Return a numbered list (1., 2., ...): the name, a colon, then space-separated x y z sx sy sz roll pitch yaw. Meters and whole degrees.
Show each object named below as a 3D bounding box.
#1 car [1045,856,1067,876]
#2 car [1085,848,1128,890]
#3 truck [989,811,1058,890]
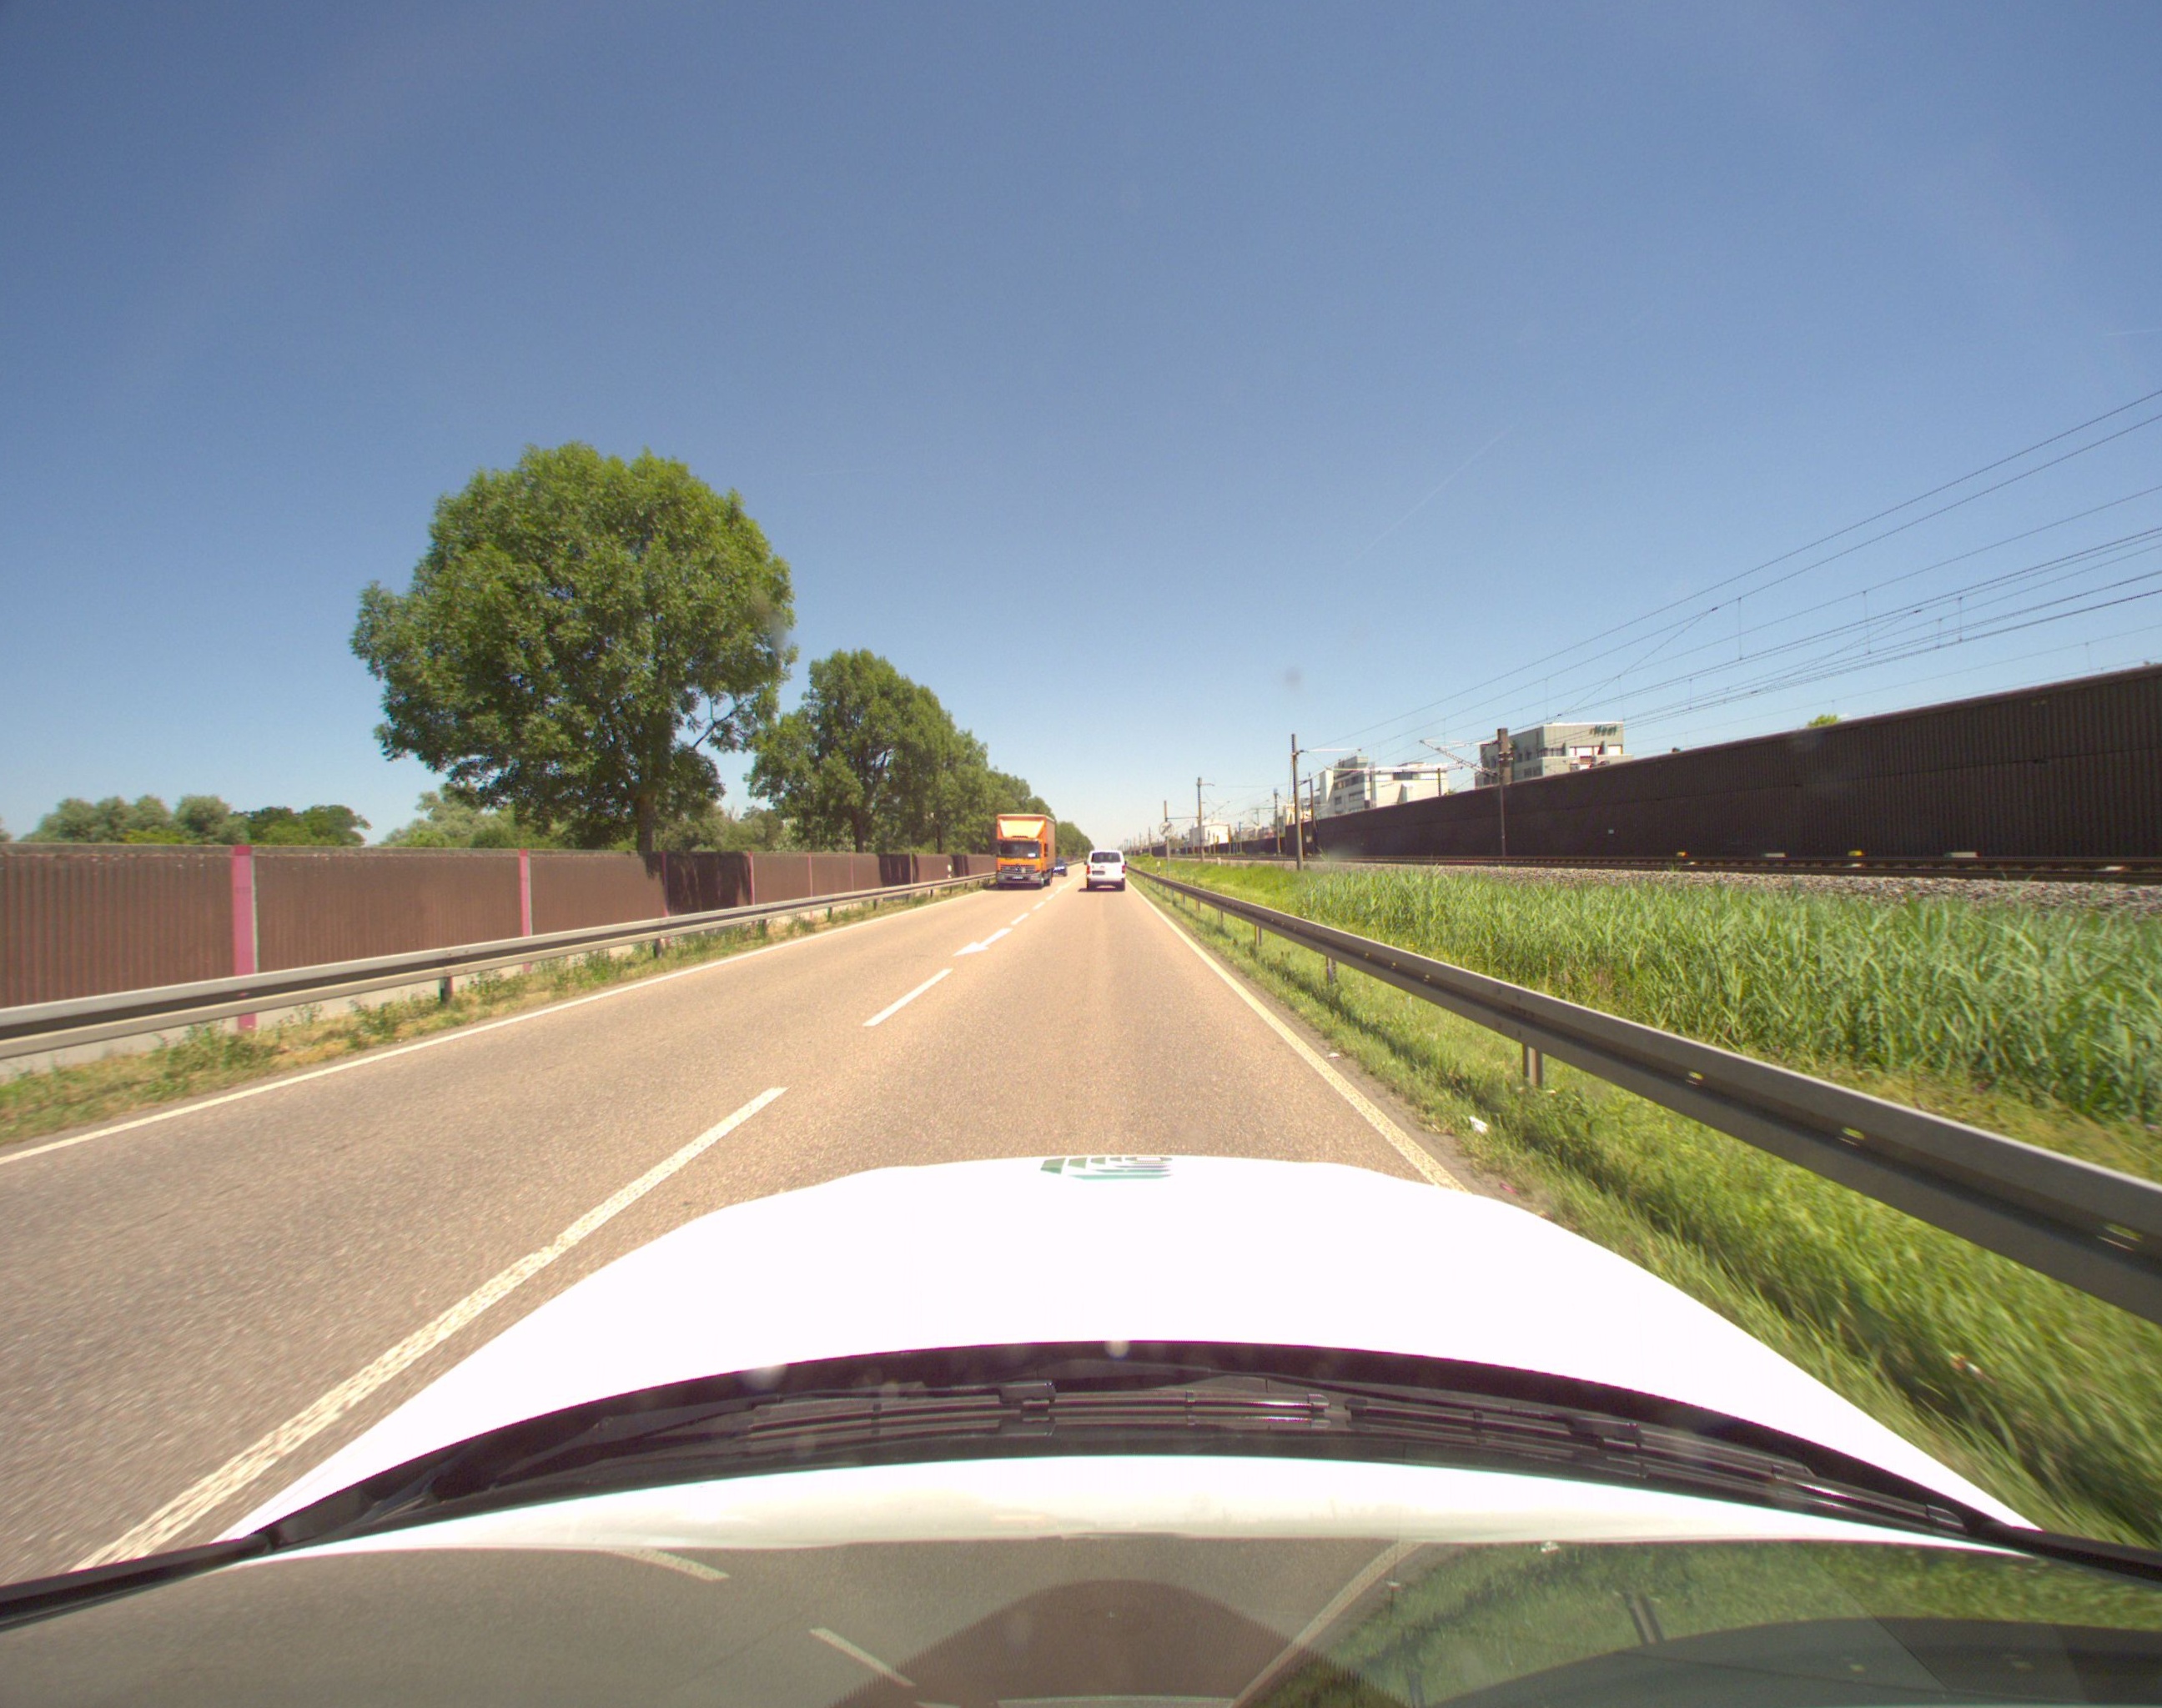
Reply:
1. car: -2.149 1.017 69.906 1.616 1.577 3.764 -1 0 2
2. car: 1.238 0.711 39.933 1.938 1.881 4.882 -1 -1 2
3. truck: -2.964 -0.164 44.813 2.782 3.840 9.327 -1 0 2
